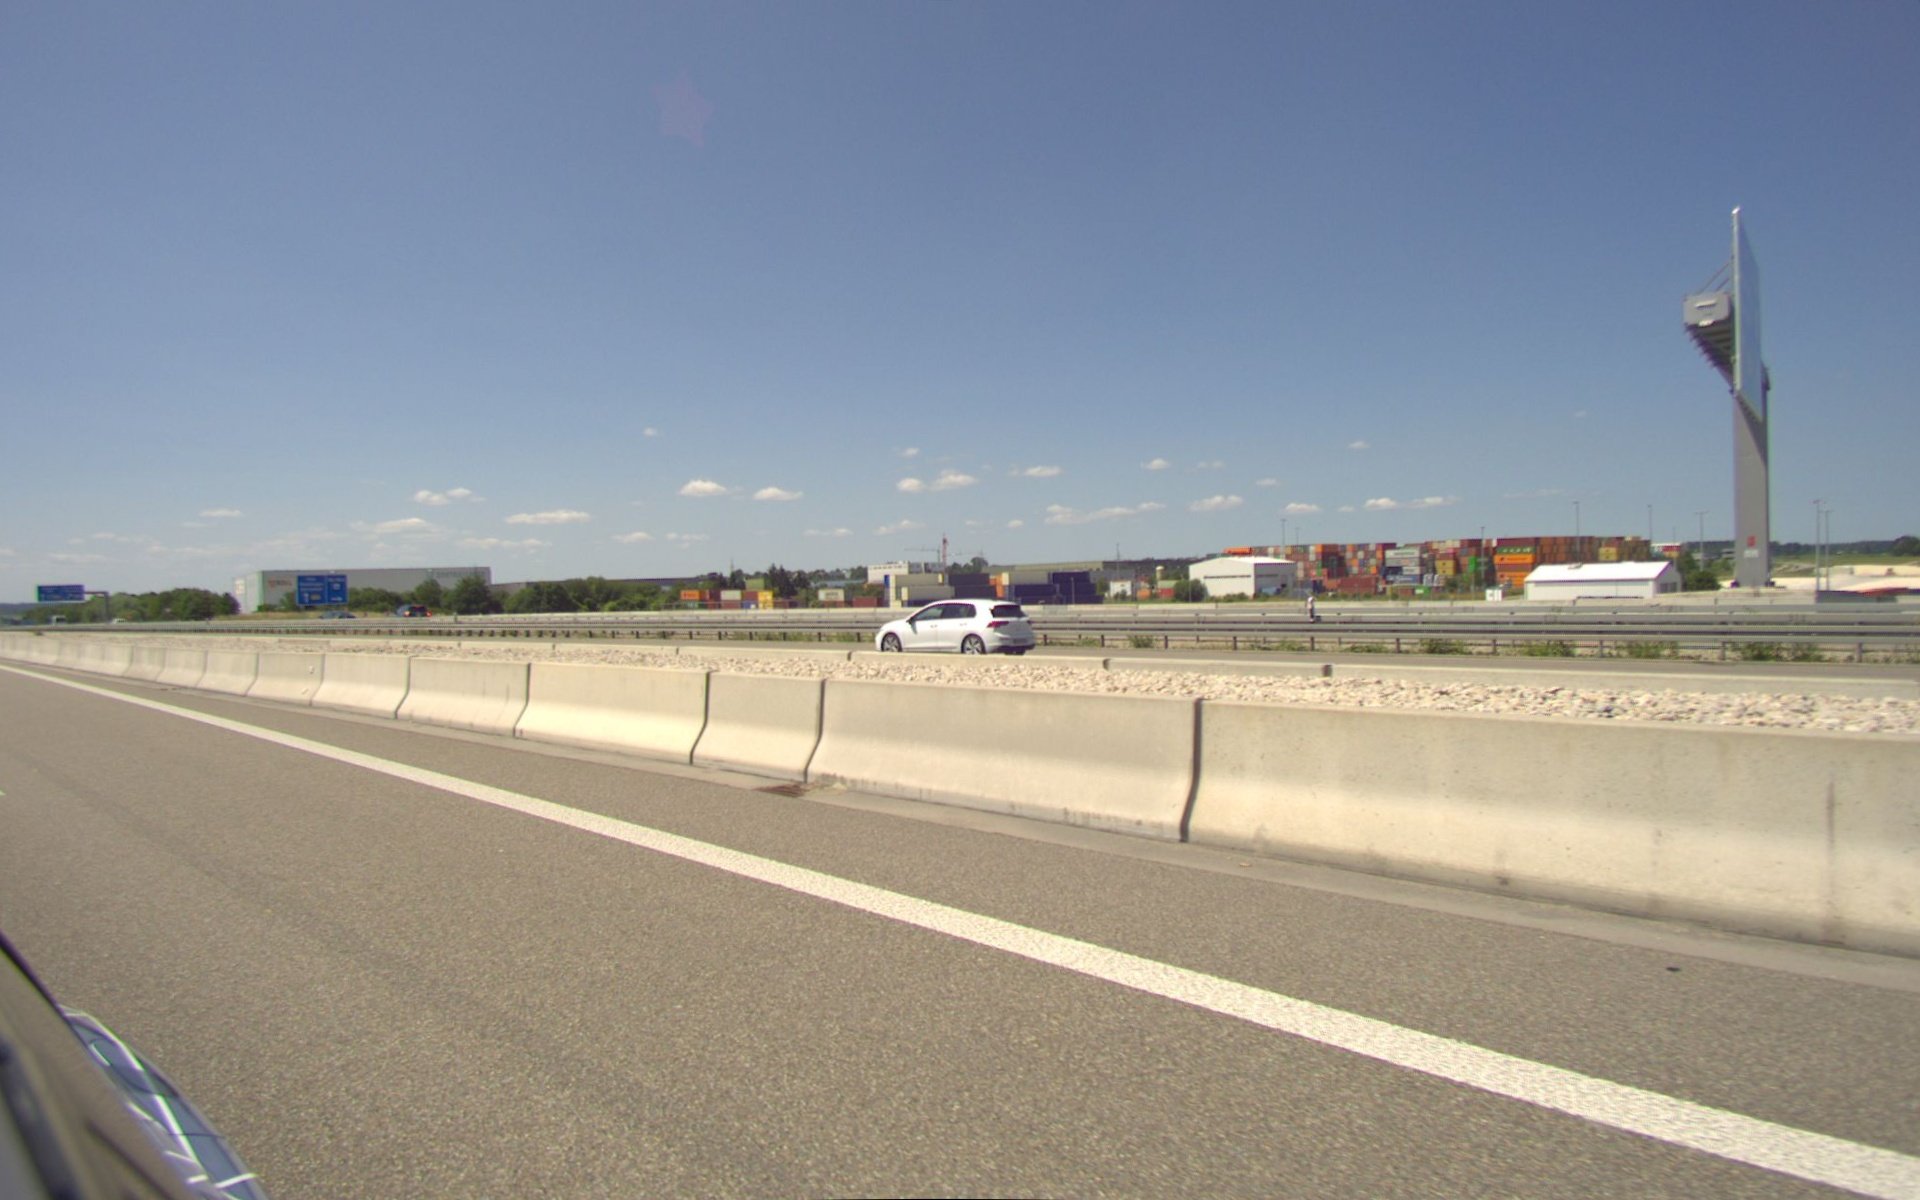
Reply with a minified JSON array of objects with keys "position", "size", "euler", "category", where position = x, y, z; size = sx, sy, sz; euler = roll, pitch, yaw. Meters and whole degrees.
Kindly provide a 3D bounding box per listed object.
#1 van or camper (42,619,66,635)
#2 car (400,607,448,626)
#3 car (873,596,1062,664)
[{"position":[-177.997,5.304,198.769],"size":[7.538,2.843,2.520],"euler":[-2,-1,41],"category":"van or camper"},{"position":[-41.804,1.292,78.939],"size":[4.362,1.390,1.972],"euler":[-2,-1,43],"category":"car"},{"position":[0.113,0.696,24.311],"size":[4.439,1.446,1.791],"euler":[-1,0,41],"category":"car"}]
